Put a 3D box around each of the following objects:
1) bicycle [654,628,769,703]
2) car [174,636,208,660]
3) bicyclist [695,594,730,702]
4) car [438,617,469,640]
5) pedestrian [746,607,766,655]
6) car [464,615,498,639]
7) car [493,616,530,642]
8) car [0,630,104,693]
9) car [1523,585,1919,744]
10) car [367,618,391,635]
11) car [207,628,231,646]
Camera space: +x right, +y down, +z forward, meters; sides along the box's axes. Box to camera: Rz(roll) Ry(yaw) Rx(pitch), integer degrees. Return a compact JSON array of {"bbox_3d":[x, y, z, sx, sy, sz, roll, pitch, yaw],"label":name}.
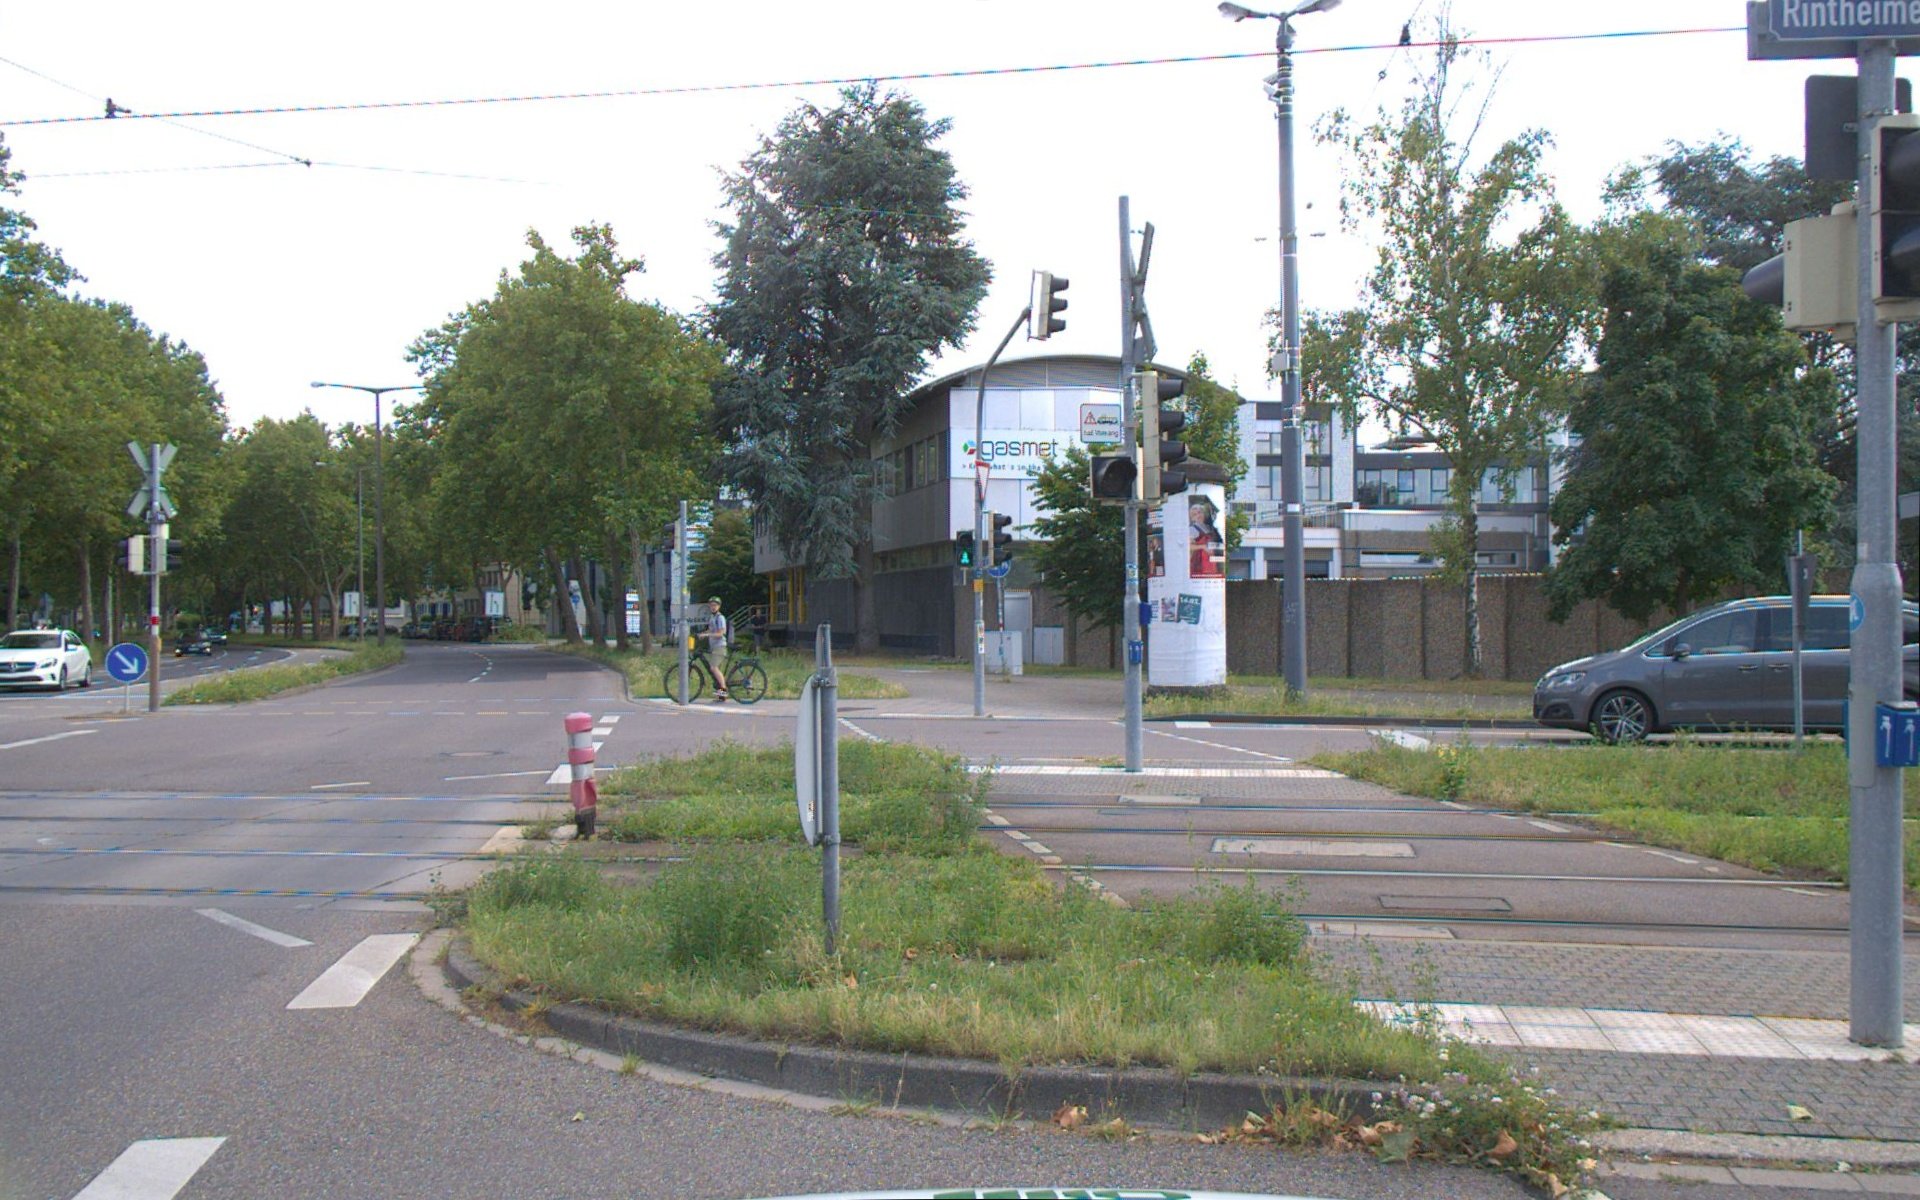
[{"bbox_3d":[-4.277,1.121,28.561,1.907,1.257,0.541,0,1,-3],"label":"bicycle"},{"bbox_3d":[-41.392,2.545,88.958,1.614,1.212,3.677,0,-1,-26],"label":"car"},{"bbox_3d":[-4.265,0.821,28.554,0.532,1.841,0.541,0,1,-3],"label":"bicyclist"},{"bbox_3d":[-40.450,2.260,132.043,1.967,1.601,3.971,-1,2,-24],"label":"car"},{"bbox_3d":[-6.966,1.055,56.449,0.610,1.597,0.557,0,1,-13],"label":"pedestrian"},{"bbox_3d":[-36.139,2.034,124.852,1.967,1.601,3.971,-1,2,-24],"label":"car"},{"bbox_3d":[-30.978,1.989,114.172,1.967,1.601,3.971,-1,2,-24],"label":"car"},{"bbox_3d":[-22.166,1.444,39.850,1.794,1.388,4.122,0,-1,-14],"label":"car"},{"bbox_3d":[9.219,0.736,19.712,4.625,1.752,2.001,-1,-1,16],"label":"car"},{"bbox_3d":[-58.802,2.682,167.342,1.967,1.601,3.971,-1,2,-24],"label":"car"},{"bbox_3d":[-60.859,3.035,135.827,1.636,1.293,3.740,-1,2,-26],"label":"car"}]
